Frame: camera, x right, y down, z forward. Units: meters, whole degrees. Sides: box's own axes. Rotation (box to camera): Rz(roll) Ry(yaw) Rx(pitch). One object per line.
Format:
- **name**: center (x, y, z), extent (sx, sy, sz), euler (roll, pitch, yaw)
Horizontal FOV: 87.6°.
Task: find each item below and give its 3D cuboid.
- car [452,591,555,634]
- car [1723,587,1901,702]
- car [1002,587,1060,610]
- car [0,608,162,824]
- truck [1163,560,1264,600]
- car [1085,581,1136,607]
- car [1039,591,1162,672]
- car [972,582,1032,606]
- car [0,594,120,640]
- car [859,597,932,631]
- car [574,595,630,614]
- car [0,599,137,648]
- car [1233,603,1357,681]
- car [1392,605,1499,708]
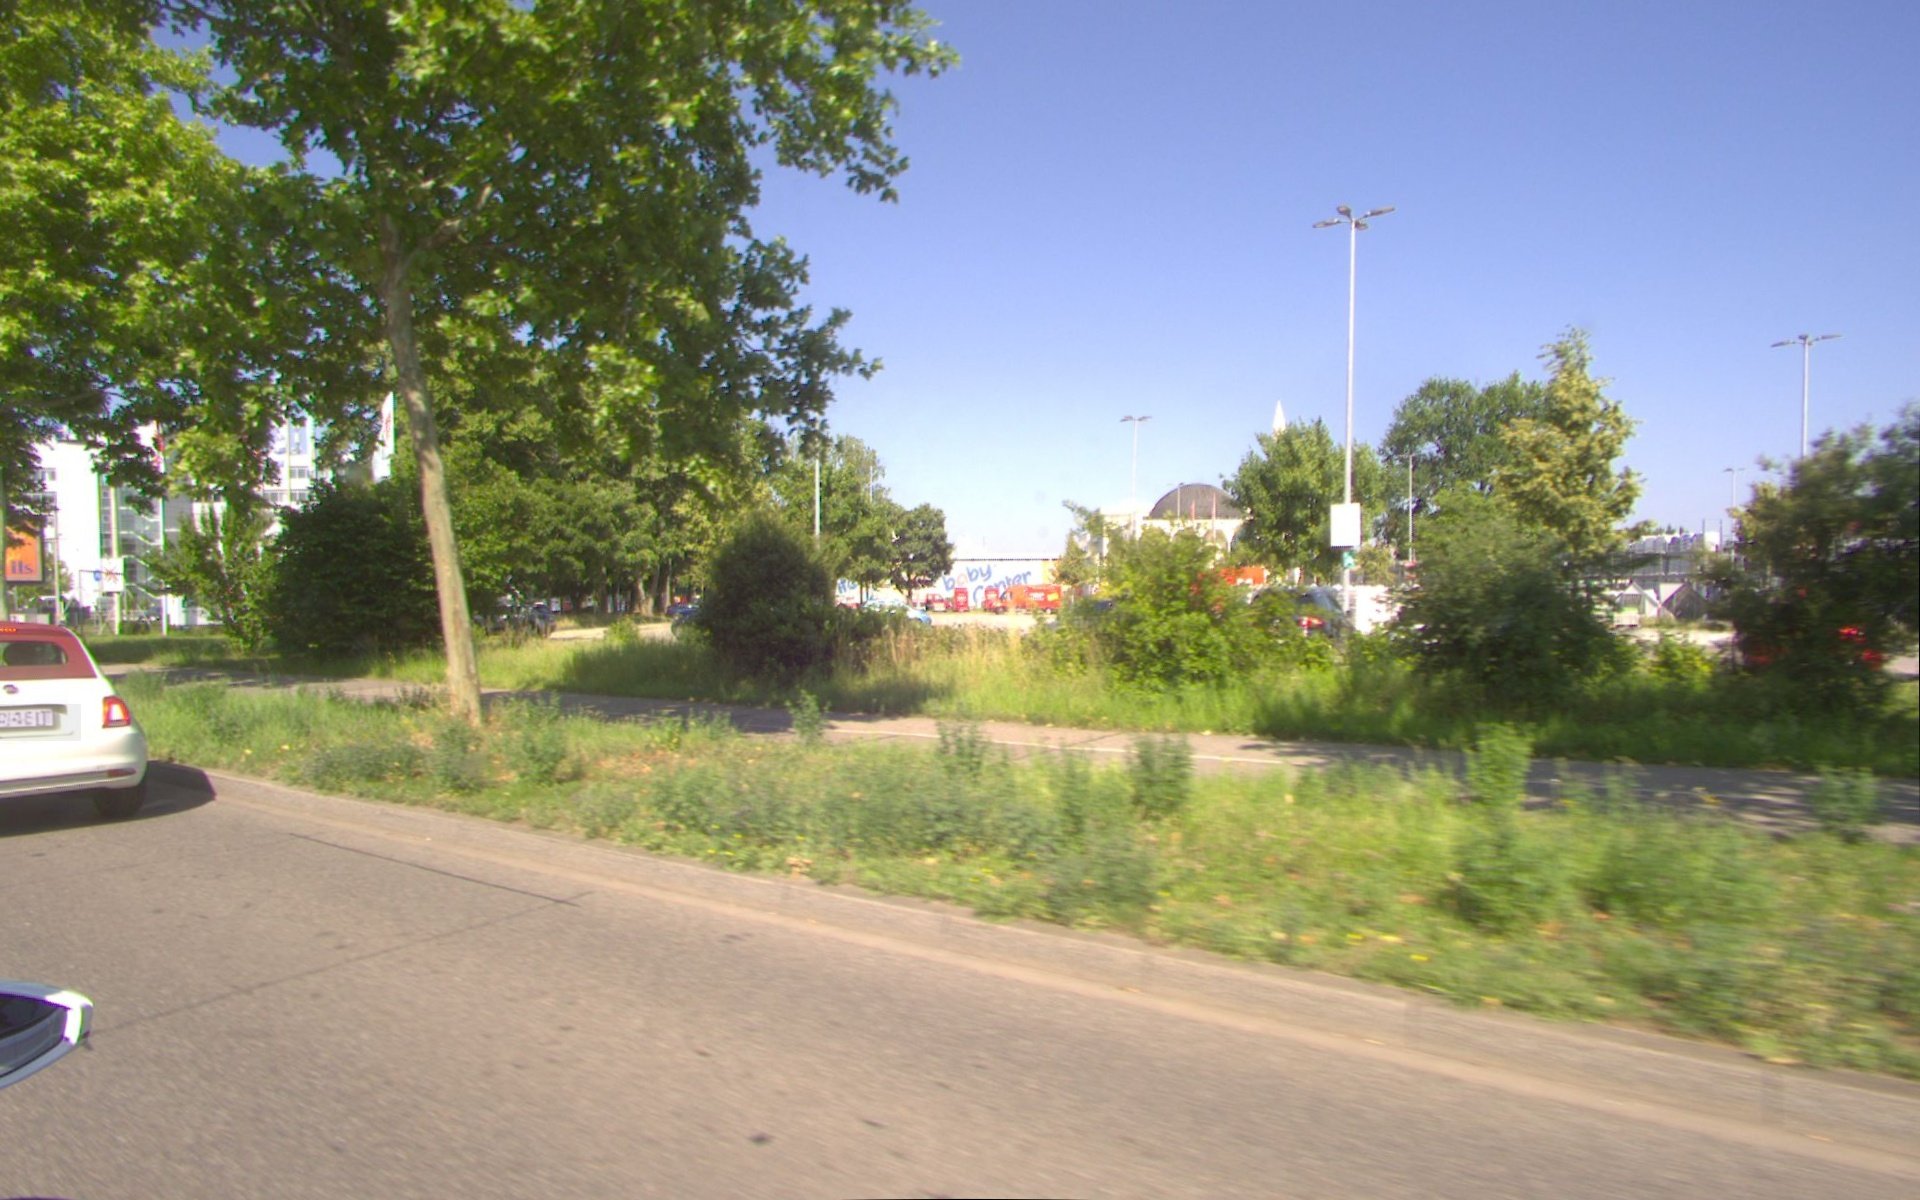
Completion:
- **car**: center (-19.292, 0.533, 42.476), extent (3.681, 1.738, 1.766), euler (0, -1, -14)
- **car**: center (14.111, 0.704, 16.796), extent (1.663, 1.692, 3.815), euler (-1, -1, 31)
- **car**: center (6.022, -0.115, 85.156), extent (4.824, 1.906, 1.770), euler (0, -1, 1)
- **car**: center (-7.854, 0.805, 7.757), extent (3.471, 1.455, 1.658), euler (-1, -1, 34)
- **truck**: center (21.475, -1.706, 85.052), extent (8.068, 3.290, 2.000), euler (0, 0, -3)
- **car**: center (12.304, -0.471, 82.074), extent (3.922, 2.040, 2.000), euler (0, -1, 2)
- **car**: center (3.324, 0.702, 23.236), extent (1.693, 1.718, 3.544), euler (-1, -1, 29)
- **car**: center (3.807, -0.508, 90.675), extent (5.188, 2.039, 2.001), euler (0, -2, -5)
- **car**: center (-35.008, 0.648, 38.460), extent (1.701, 1.683, 3.973), euler (-1, -1, 37)
- **car**: center (-3.010, 0.663, 47.253), extent (3.387, 1.591, 1.745), euler (0, -1, -2)
- **car**: center (-29.125, 0.402, 81.565), extent (3.922, 1.505, 1.722), euler (0, -1, 0)
- **car**: center (-32.294, 0.835, 35.978), extent (1.701, 1.683, 3.973), euler (-1, -1, 37)
- **car**: center (7.135, 0.844, 21.084), extent (1.805, 1.477, 3.984), euler (-1, -1, 29)
- **car**: center (9.520, 1.033, 19.695), extent (1.725, 1.795, 3.987), euler (0, -1, 26)
